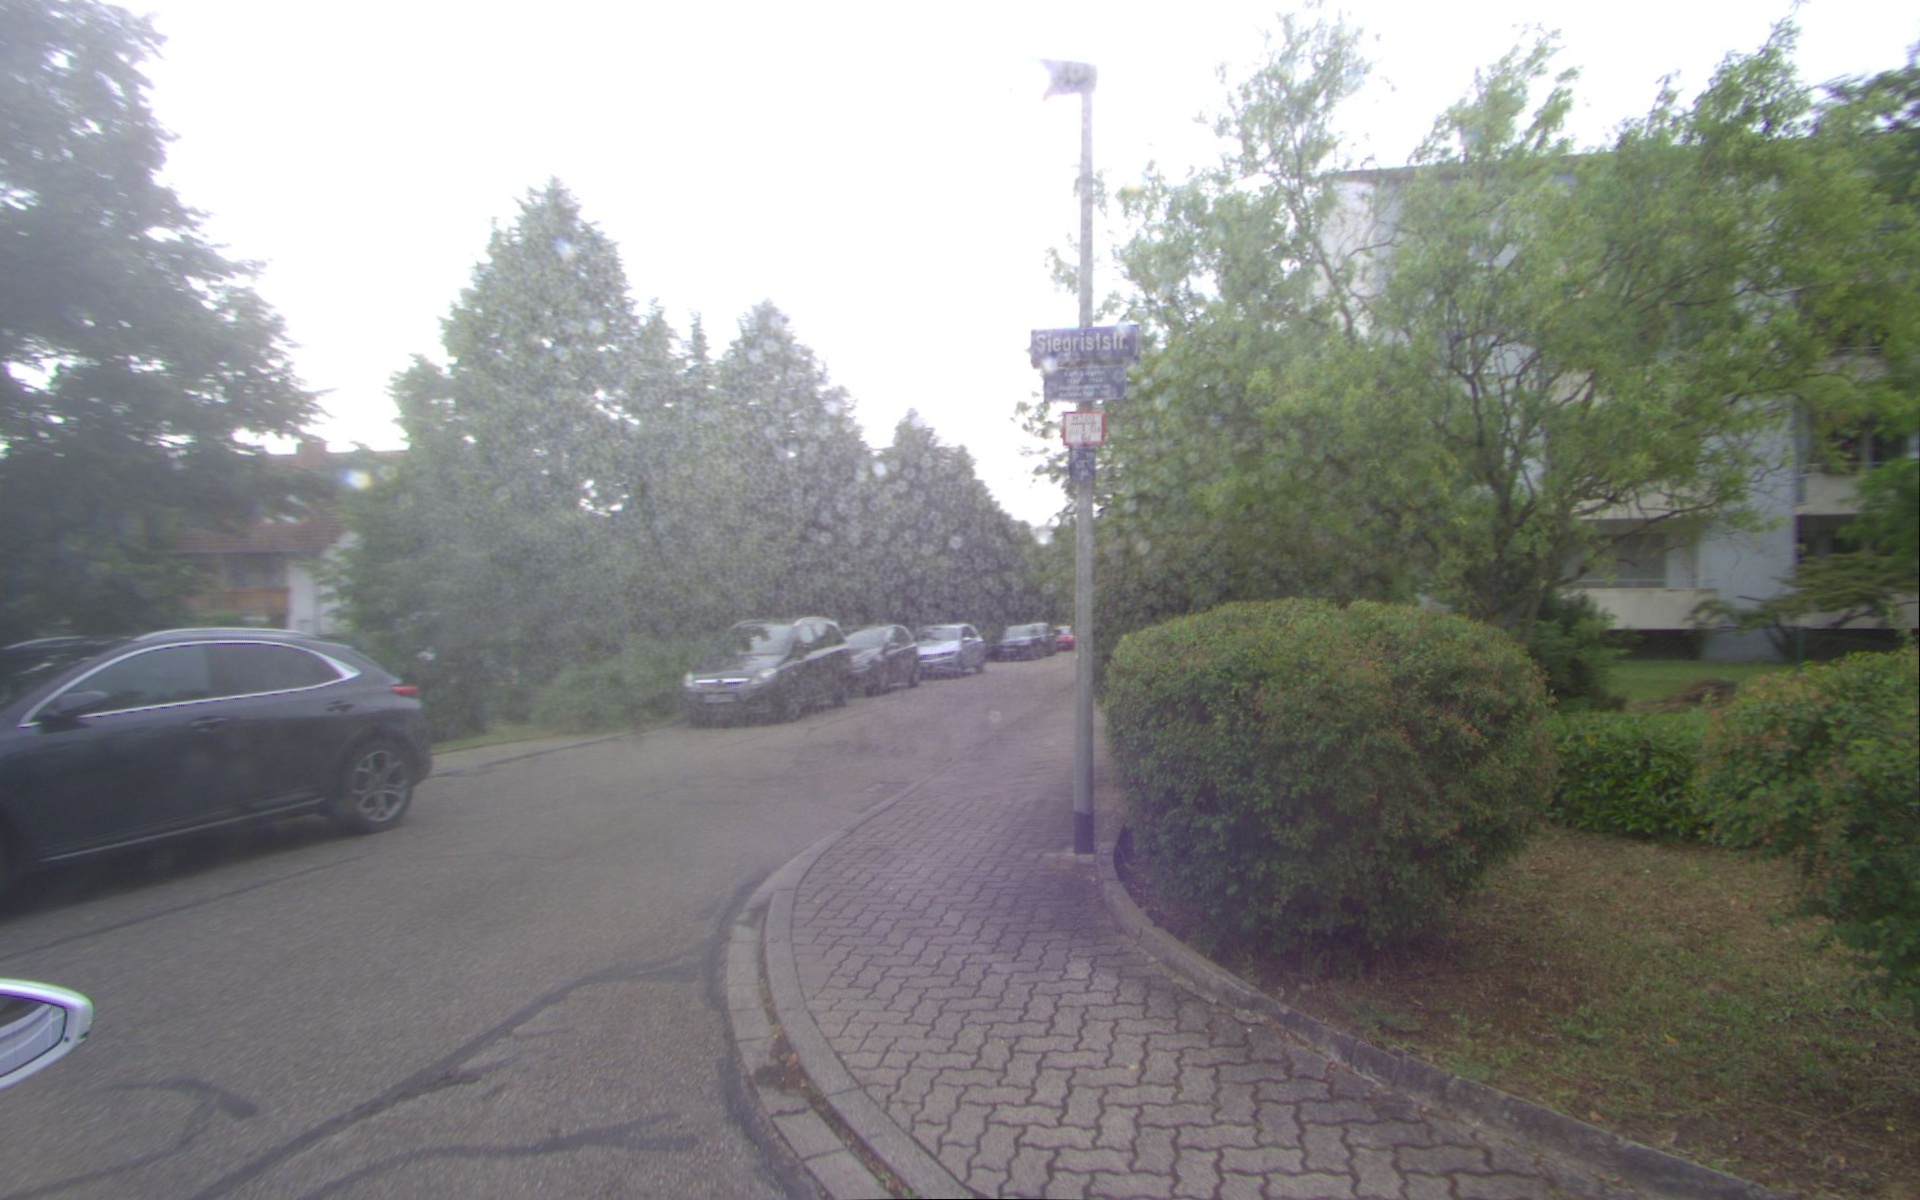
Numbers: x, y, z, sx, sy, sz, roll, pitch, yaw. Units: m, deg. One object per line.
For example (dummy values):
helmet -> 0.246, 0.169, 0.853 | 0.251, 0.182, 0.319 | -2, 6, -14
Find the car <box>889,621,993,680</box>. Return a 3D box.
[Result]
car -> -0.427, 1.360, 28.031 | 1.749, 1.446, 4.474 | -2, -1, 14

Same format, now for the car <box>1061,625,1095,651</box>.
car -> 7.657, 2.458, 64.826 | 1.725, 1.539, 3.997 | -2, -1, 13

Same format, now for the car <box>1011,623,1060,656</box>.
car -> 3.658, 1.875, 47.888 | 1.725, 1.443, 3.997 | -2, -1, 13

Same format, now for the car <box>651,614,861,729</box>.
car -> -3.193, 1.085, 16.732 | 1.730, 1.614, 4.550 | -3, -1, 12

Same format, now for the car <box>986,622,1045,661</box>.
car -> 2.325, 1.680, 41.178 | 1.725, 1.443, 3.997 | -2, -1, 13

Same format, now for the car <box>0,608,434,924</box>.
car -> -5.387, 0.865, 5.860 | 1.715, 1.550, 4.192 | -2, -1, 14

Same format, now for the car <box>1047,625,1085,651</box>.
car -> 6.288, 2.231, 59.230 | 1.725, 1.443, 3.997 | -2, -1, 13

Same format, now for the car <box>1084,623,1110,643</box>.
car -> 11.183, 2.696, 81.377 | 1.725, 1.539, 3.997 | -1, -1, 13

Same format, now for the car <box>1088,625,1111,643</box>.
car -> 12.785, 3.087, 91.740 | 1.725, 1.539, 3.997 | -2, -1, 13

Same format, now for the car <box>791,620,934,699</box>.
car -> -2.016, 1.230, 22.020 | 1.731, 1.497, 4.302 | -3, -1, 14
